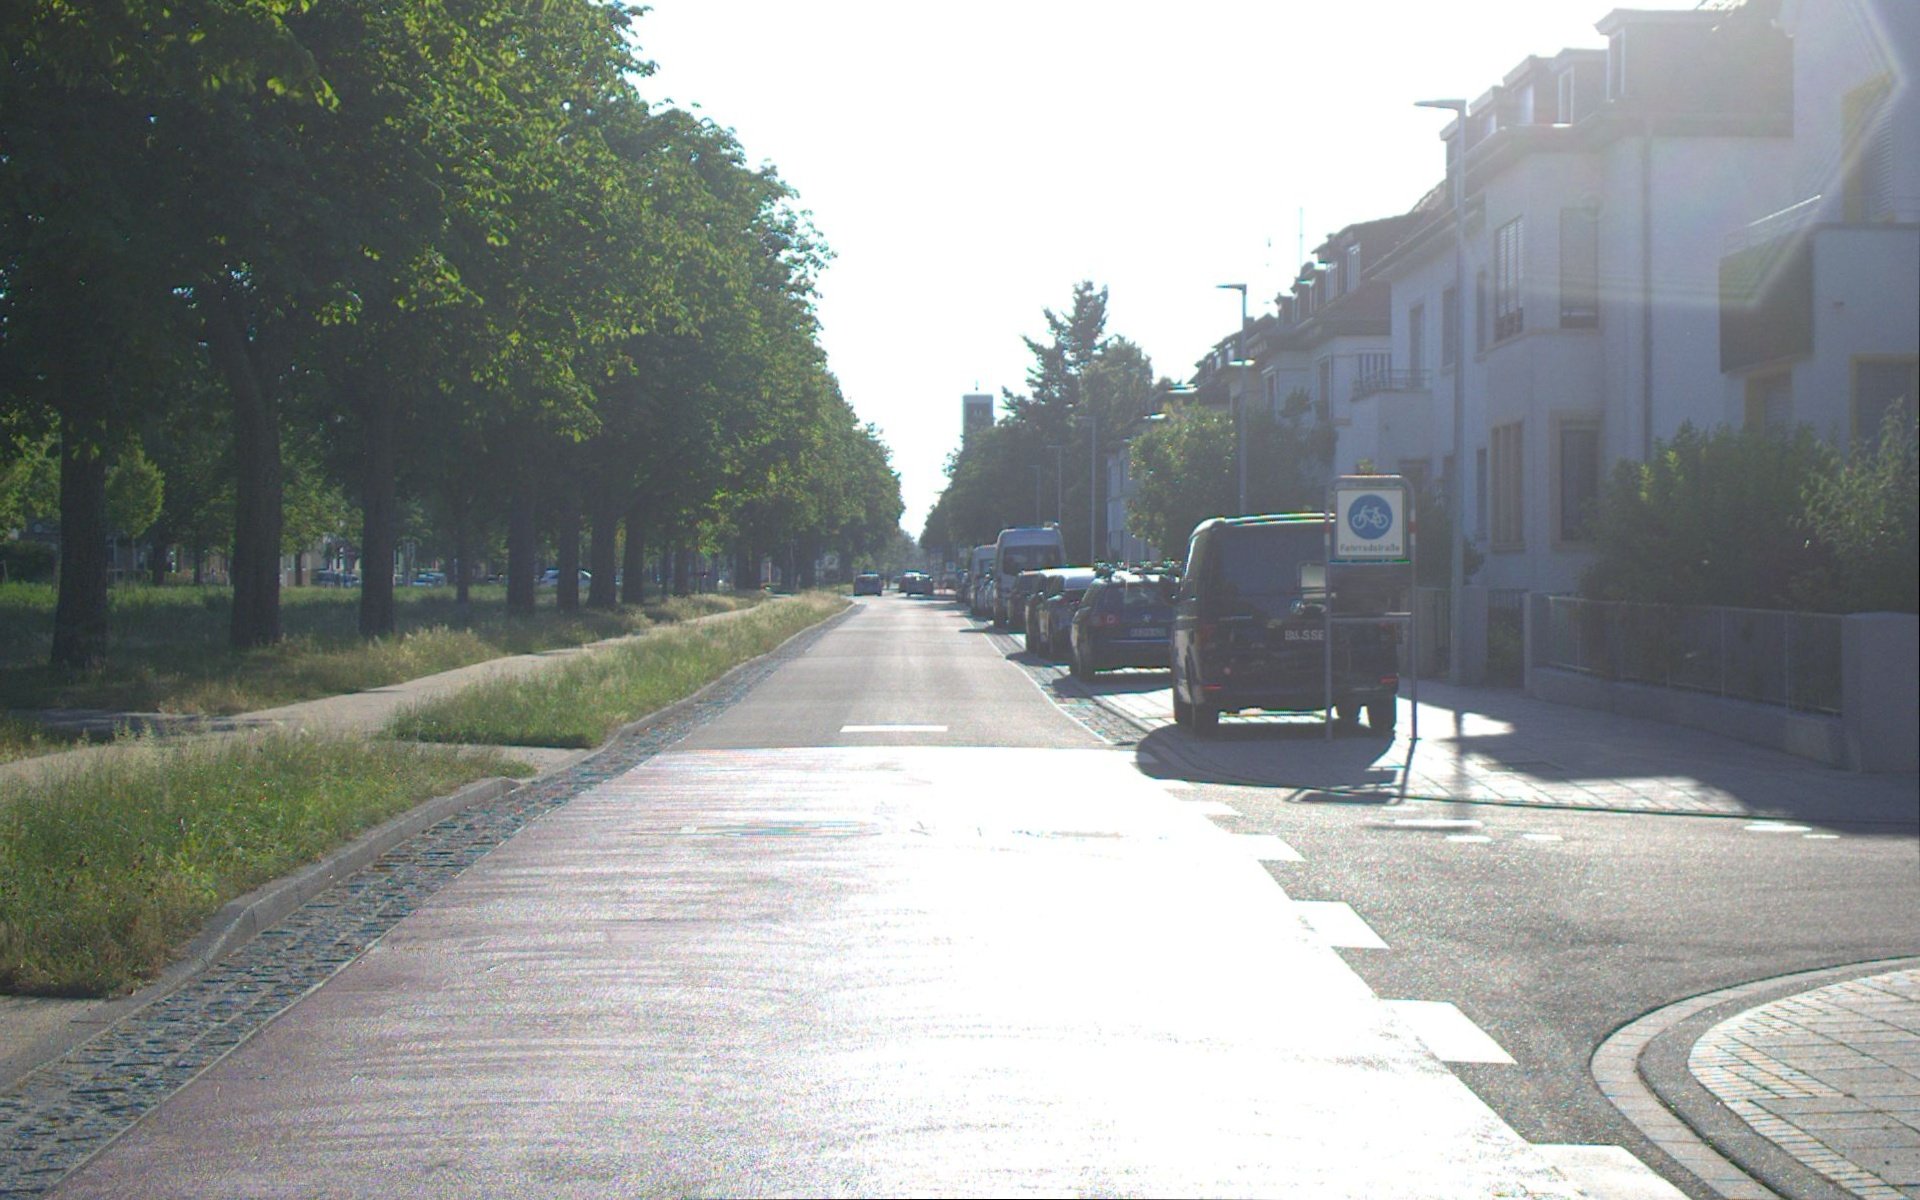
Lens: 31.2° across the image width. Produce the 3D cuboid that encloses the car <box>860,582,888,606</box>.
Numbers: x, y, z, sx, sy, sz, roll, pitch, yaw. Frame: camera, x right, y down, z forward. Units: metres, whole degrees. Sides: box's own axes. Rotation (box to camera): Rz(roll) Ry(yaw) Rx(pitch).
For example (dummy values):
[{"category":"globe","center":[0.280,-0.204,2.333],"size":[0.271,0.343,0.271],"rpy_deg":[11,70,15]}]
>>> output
[{"category":"car","center":[-5.834,-0.432,232.347],"size":[1.863,1.591,3.870],"rpy_deg":[1,0,-1]}]

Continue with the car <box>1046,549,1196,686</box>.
[{"category":"car","center":[2.237,0.206,48.903],"size":[1.794,1.765,4.473],"rpy_deg":[-2,1,-1]}]

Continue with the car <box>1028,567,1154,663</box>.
[{"category":"car","center":[2.286,0.239,60.893],"size":[1.717,1.568,4.211],"rpy_deg":[-2,1,-4]}]

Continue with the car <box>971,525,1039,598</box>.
[{"category":"car","center":[1.599,-1.405,124.329],"size":[2.126,2.524,5.189],"rpy_deg":[-1,1,-3]}]

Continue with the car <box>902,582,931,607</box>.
[{"category":"car","center":[-2.935,-0.376,230.284],"size":[1.863,1.591,3.894],"rpy_deg":[1,1,-1]}]

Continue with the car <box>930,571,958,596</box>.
[{"category":"car","center":[-0.987,-1.032,211.808],"size":[1.650,1.525,3.851],"rpy_deg":[0,1,1]}]

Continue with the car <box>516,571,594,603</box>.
[{"category":"car","center":[-23.204,-0.738,197.045],"size":[4.345,1.758,2.000],"rpy_deg":[1,0,-9]}]

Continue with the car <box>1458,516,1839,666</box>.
[{"category":"car","center":[8.410,-0.118,42.182],"size":[4.216,1.720,1.853],"rpy_deg":[-1,0,-4]}]

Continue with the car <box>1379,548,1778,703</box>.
[{"category":"car","center":[7.124,0.277,39.839],"size":[4.216,1.720,1.853],"rpy_deg":[0,0,-4]}]

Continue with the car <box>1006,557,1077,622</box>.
[{"category":"car","center":[2.046,-0.284,87.470],"size":[1.663,1.587,4.086],"rpy_deg":[1,1,0]}]

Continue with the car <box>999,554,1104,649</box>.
[{"category":"car","center":[1.738,0.002,66.632],"size":[1.832,1.679,4.415],"rpy_deg":[1,1,-1]}]

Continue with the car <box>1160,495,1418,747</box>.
[{"category":"car","center":[3.008,0.140,32.365],"size":[1.906,2.124,4.814],"rpy_deg":[-2,1,0]}]

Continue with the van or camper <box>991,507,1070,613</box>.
[{"category":"van or camper","center":[1.895,-1.055,94.025],"size":[1.943,2.768,5.940],"rpy_deg":[1,0,0]}]

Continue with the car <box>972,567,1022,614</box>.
[{"category":"car","center":[1.260,-0.353,118.162],"size":[1.650,1.525,3.851],"rpy_deg":[-1,1,1]}]
